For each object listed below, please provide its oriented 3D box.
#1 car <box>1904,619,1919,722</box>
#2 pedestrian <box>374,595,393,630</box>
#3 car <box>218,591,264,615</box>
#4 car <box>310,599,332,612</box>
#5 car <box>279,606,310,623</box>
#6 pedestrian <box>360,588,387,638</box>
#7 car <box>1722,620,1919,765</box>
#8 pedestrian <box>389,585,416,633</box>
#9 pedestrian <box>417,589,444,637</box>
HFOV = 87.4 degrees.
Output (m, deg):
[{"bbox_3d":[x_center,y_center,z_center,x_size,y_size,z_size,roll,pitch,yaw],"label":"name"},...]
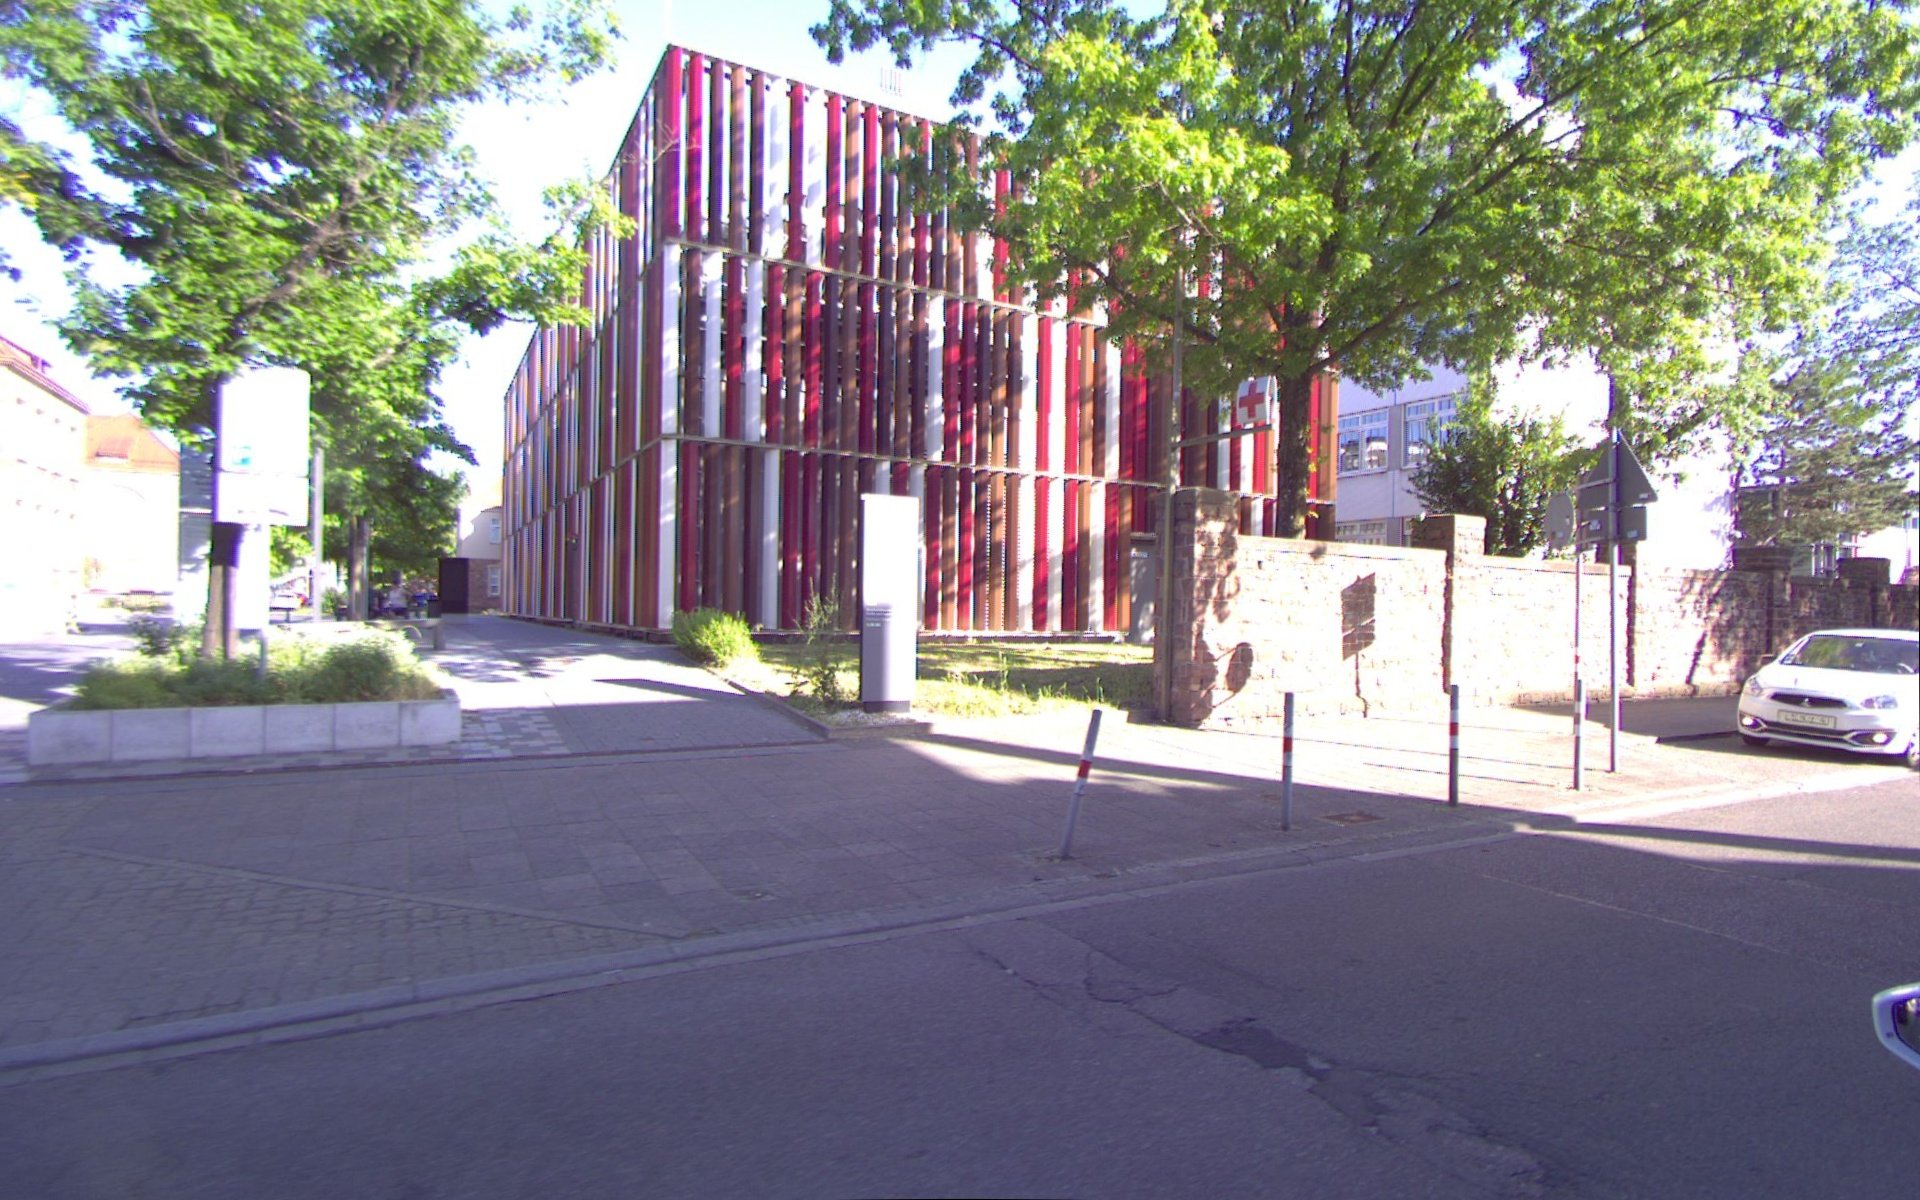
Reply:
[{"bbox_3d":[16.315,1.119,15.317,3.803,1.532,1.669,1,2,-29],"label":"car"},{"bbox_3d":[-22.301,0.491,38.844,0.604,1.336,0.566,1,1,-34],"label":"pedestrian"},{"bbox_3d":[-42.579,0.163,59.535,1.714,1.341,3.051,1,1,-26],"label":"car"},{"bbox_3d":[-72.563,0.577,114.041,1.714,1.341,3.051,1,1,-26],"label":"car"},{"bbox_3d":[-55.470,1.195,83.811,1.714,1.341,3.051,1,0,-26],"label":"car"},{"bbox_3d":[-16.629,0.357,28.487,0.605,1.398,0.566,1,1,-36],"label":"pedestrian"},{"bbox_3d":[11.100,1.020,12.228,3.707,1.421,1.566,1,3,-31],"label":"car"},{"bbox_3d":[-16.045,0.250,28.898,0.605,1.371,0.566,1,1,-36],"label":"pedestrian"},{"bbox_3d":[-15.419,0.373,29.245,0.605,1.371,0.566,1,1,-36],"label":"pedestrian"}]
